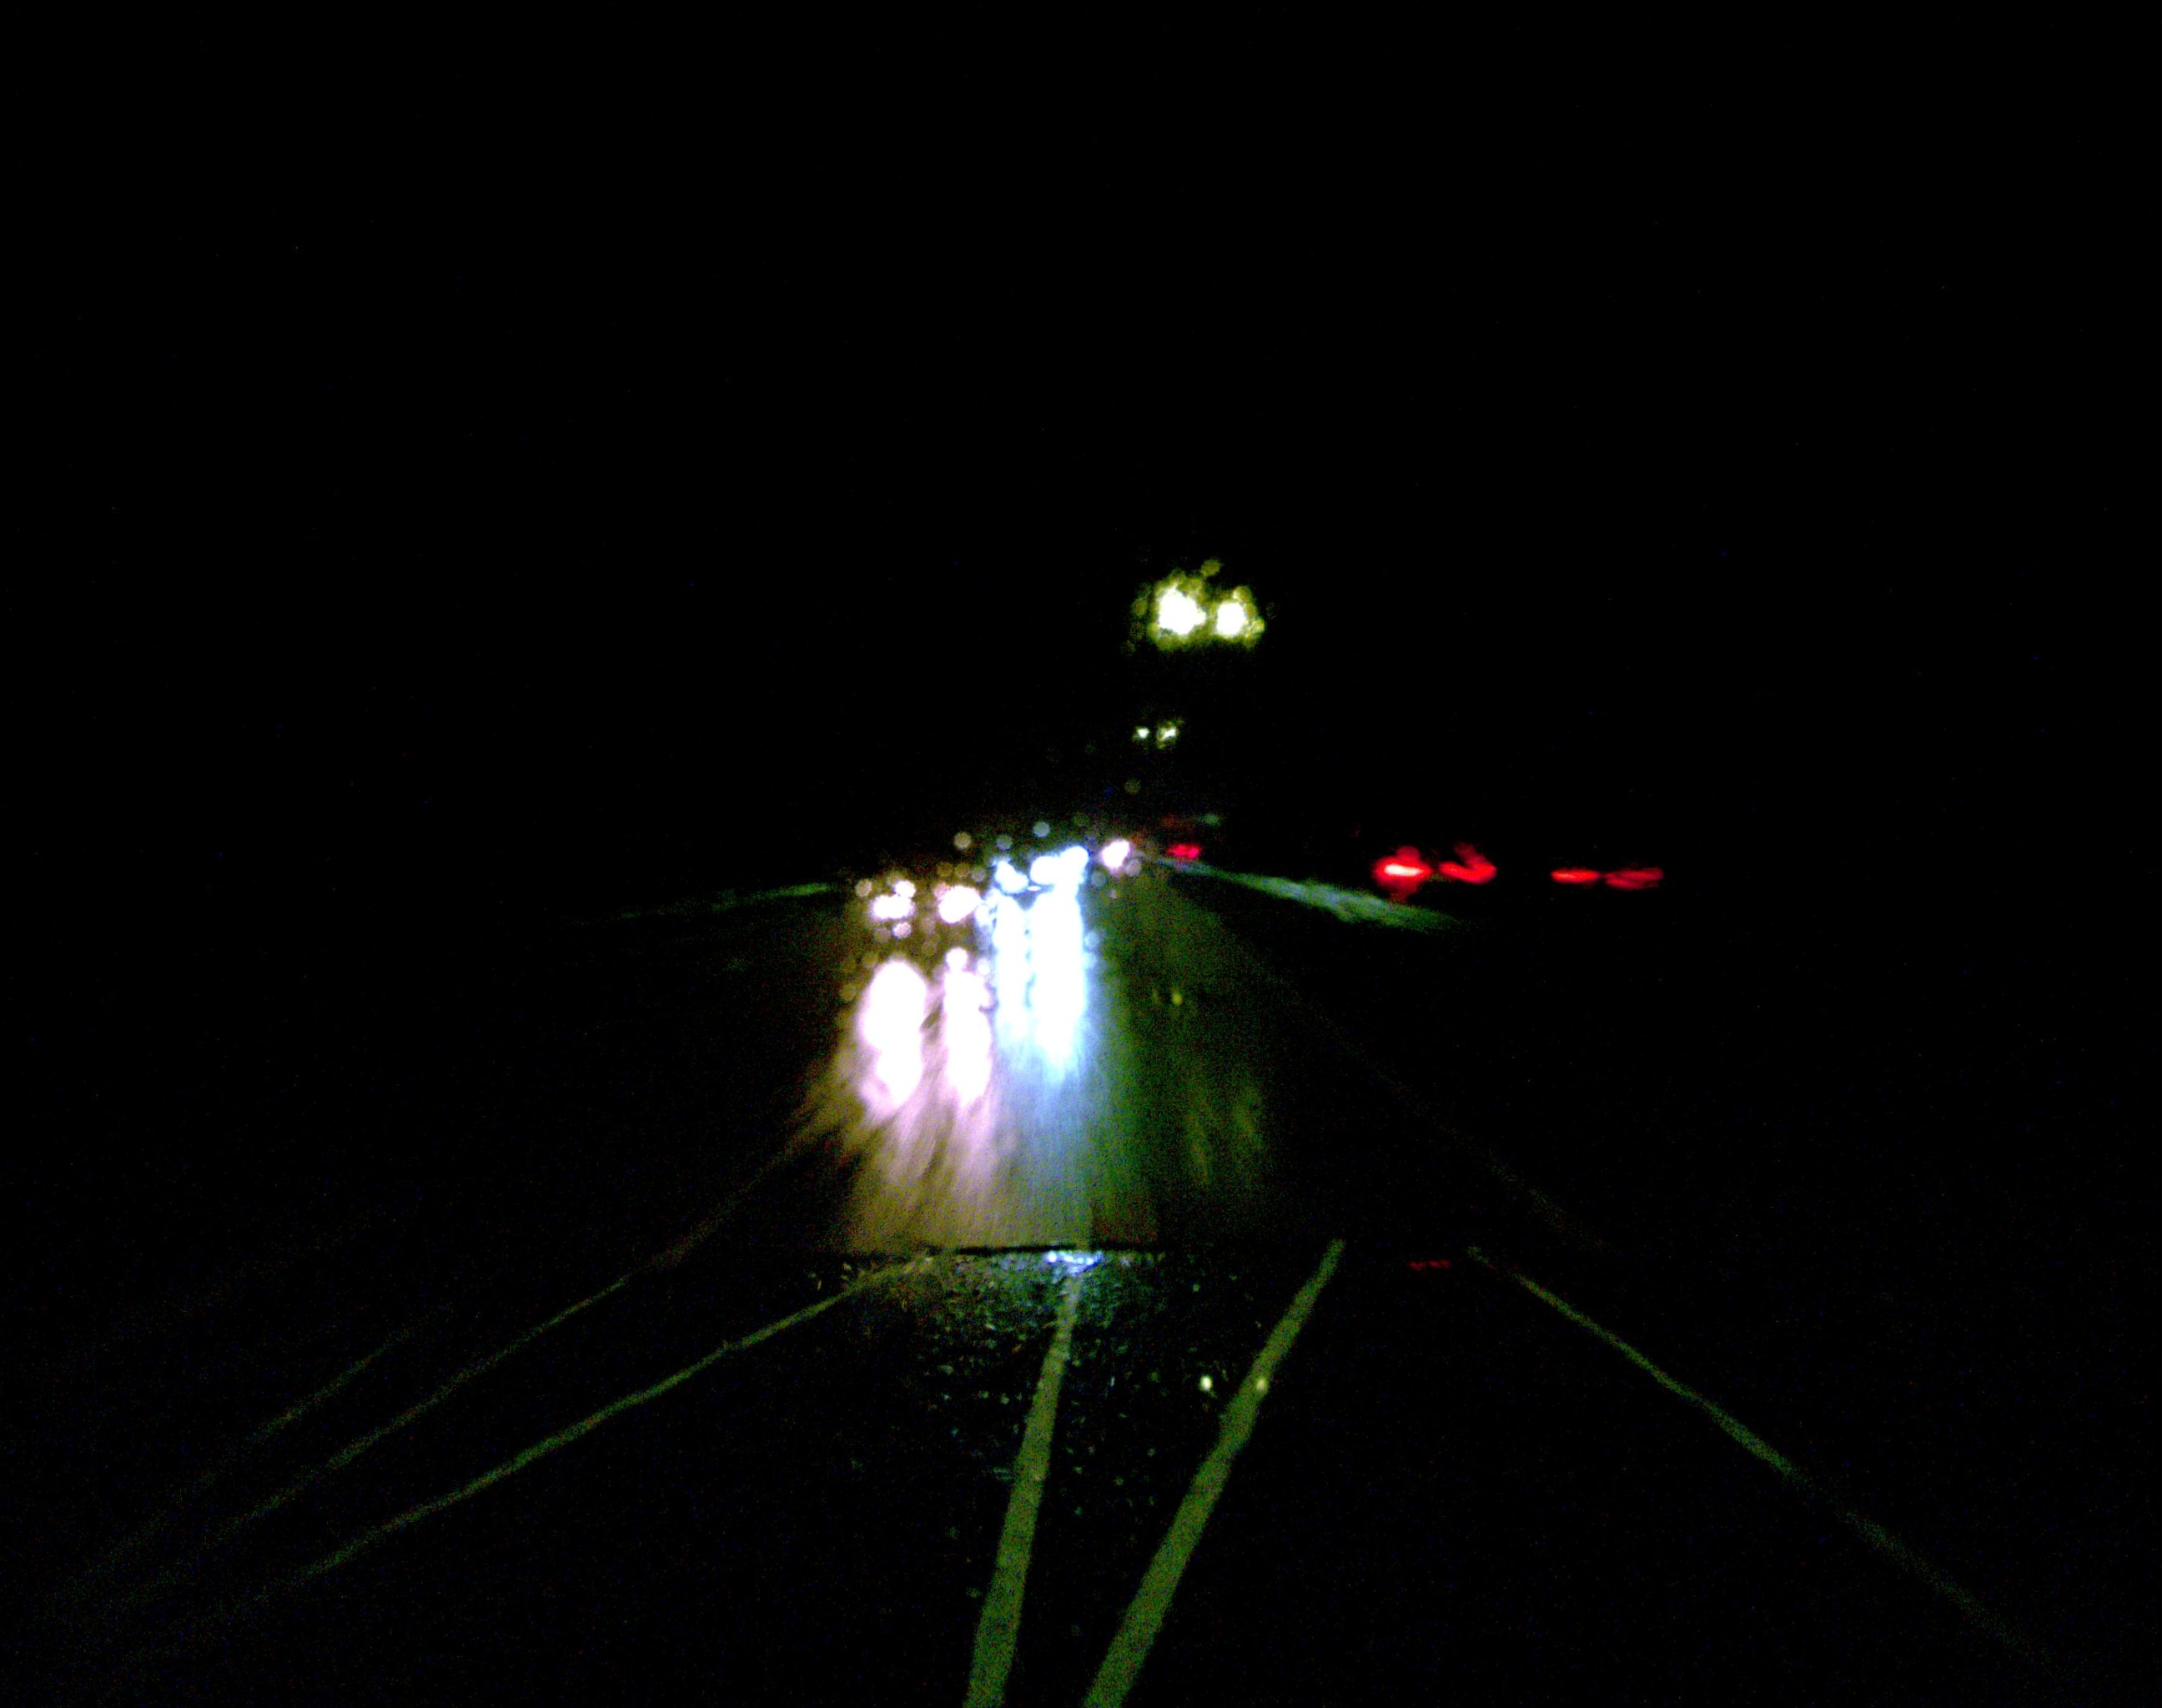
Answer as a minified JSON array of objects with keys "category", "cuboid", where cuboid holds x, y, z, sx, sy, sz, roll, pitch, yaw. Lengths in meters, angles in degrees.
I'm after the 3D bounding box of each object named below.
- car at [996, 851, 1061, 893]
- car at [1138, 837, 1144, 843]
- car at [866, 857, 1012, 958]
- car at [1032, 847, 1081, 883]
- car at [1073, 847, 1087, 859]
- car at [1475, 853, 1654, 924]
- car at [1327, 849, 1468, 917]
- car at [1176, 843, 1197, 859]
[{"category":"car","cuboid":[-1.972,0.637,29.702,1.998,1.455,4.000,-2,1,3]},{"category":"car","cuboid":[19.079,-4.495,242.683,1.788,1.638,4.000,-2,1,2]},{"category":"car","cuboid":[-2.490,0.879,14.317,1.764,1.492,4.000,-2,1,3]},{"category":"car","cuboid":[-1.130,0.484,36.552,1.998,1.531,4.000,-2,1,3]},{"category":"car","cuboid":[-0.091,-0.157,117.339,1.998,1.657,4.000,-1,1,2]},{"category":"car","cuboid":[10.926,0.706,17.562,1.614,1.374,4.164,1,1,3]},{"category":"car","cuboid":[7.478,0.610,18.489,1.614,1.374,4.746,-2,1,3]},{"category":"car","cuboid":[11.071,-0.351,80.194,1.755,1.543,4.010,-1,1,2]}]
